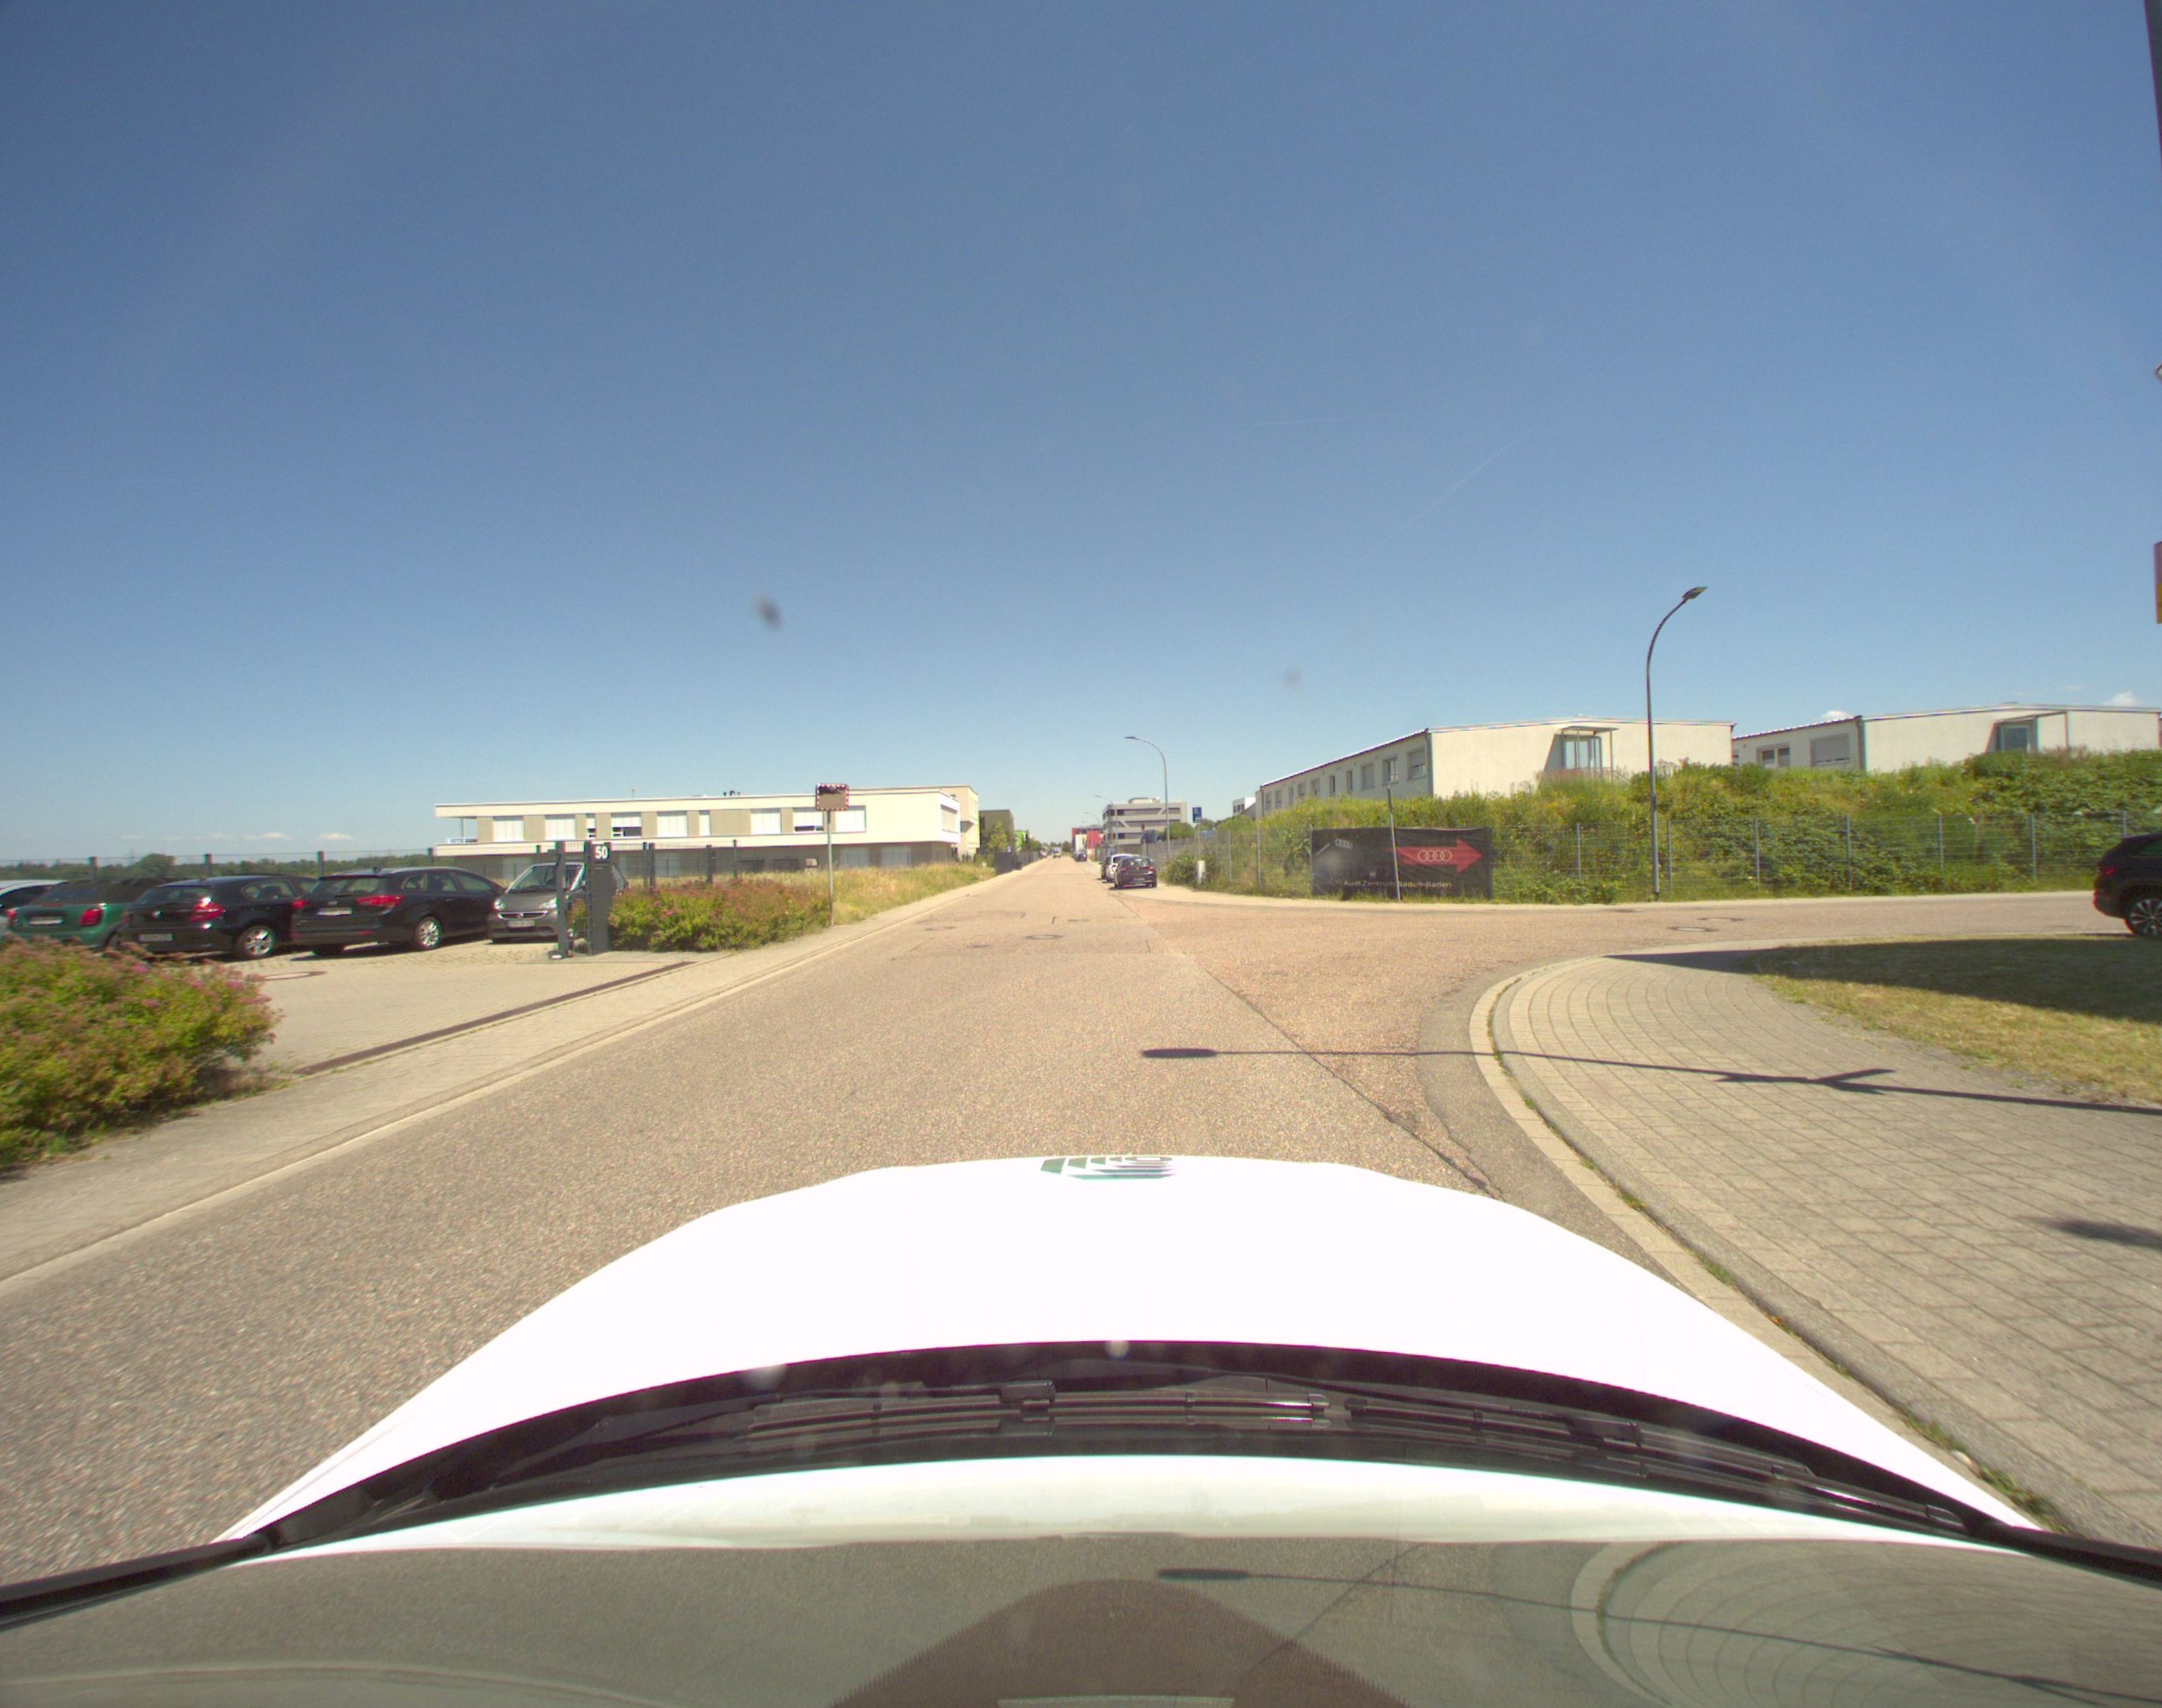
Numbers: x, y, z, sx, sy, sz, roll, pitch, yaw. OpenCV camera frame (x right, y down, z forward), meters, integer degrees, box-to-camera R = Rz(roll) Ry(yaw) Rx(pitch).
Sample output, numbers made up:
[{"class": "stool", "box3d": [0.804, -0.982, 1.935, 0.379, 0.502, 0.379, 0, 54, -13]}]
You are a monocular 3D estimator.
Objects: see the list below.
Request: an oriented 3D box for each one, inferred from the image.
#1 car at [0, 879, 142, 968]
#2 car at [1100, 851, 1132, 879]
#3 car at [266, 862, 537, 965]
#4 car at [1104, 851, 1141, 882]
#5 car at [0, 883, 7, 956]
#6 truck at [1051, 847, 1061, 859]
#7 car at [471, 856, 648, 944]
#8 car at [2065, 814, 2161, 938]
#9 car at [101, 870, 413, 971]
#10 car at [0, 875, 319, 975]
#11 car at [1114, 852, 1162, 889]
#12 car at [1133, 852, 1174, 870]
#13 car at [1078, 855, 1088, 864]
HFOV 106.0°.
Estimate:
[{"class": "car", "box3d": [-19.291, 1.252, 14.036, 1.668, 1.440, 3.995, -2, 0, -3]}, {"class": "car", "box3d": [2.202, 0.674, 51.858, 1.901, 1.546, 4.002, -4, 0, 2]}, {"class": "car", "box3d": [-12.370, 0.983, 15.242, 1.821, 1.541, 3.995, -2, 0, -4]}, {"class": "car", "box3d": [2.317, 0.677, 45.908, 1.901, 1.546, 4.002, -4, 0, 2]}, {"class": "car", "box3d": [-21.925, 1.320, 14.003, 1.668, 1.440, 3.995, -2, 0, -3]}, {"class": "truck", "box3d": [-7.931, -0.293, 259.719, 2.594, 3.544, 10.488, -3, 1, -3]}, {"class": "car", "box3d": [-10.316, 0.841, 16.380, 1.696, 1.520, 2.994, -2, 0, -4]}, {"class": "car", "box3d": [16.247, 0.286, 10.761, 1.712, 1.765, 4.003, -1, -1, 3]}, {"class": "car", "box3d": [-14.867, 1.106, 15.092, 1.797, 1.440, 3.995, -2, 0, -4]}, {"class": "car", "box3d": [-16.920, 1.206, 15.224, 1.668, 1.440, 3.995, -2, 0, -3]}, {"class": "car", "box3d": [2.508, 0.716, 36.678, 1.901, 1.448, 4.002, -4, 0, 2]}, {"class": "car", "box3d": [8.235, 0.787, 92.962, 4.607, 2.013, 2.608, 0, 0, 2]}, {"class": "car", "box3d": [0.332, 0.974, 147.203, 1.771, 1.728, 3.998, 0, 0, -1]}]
